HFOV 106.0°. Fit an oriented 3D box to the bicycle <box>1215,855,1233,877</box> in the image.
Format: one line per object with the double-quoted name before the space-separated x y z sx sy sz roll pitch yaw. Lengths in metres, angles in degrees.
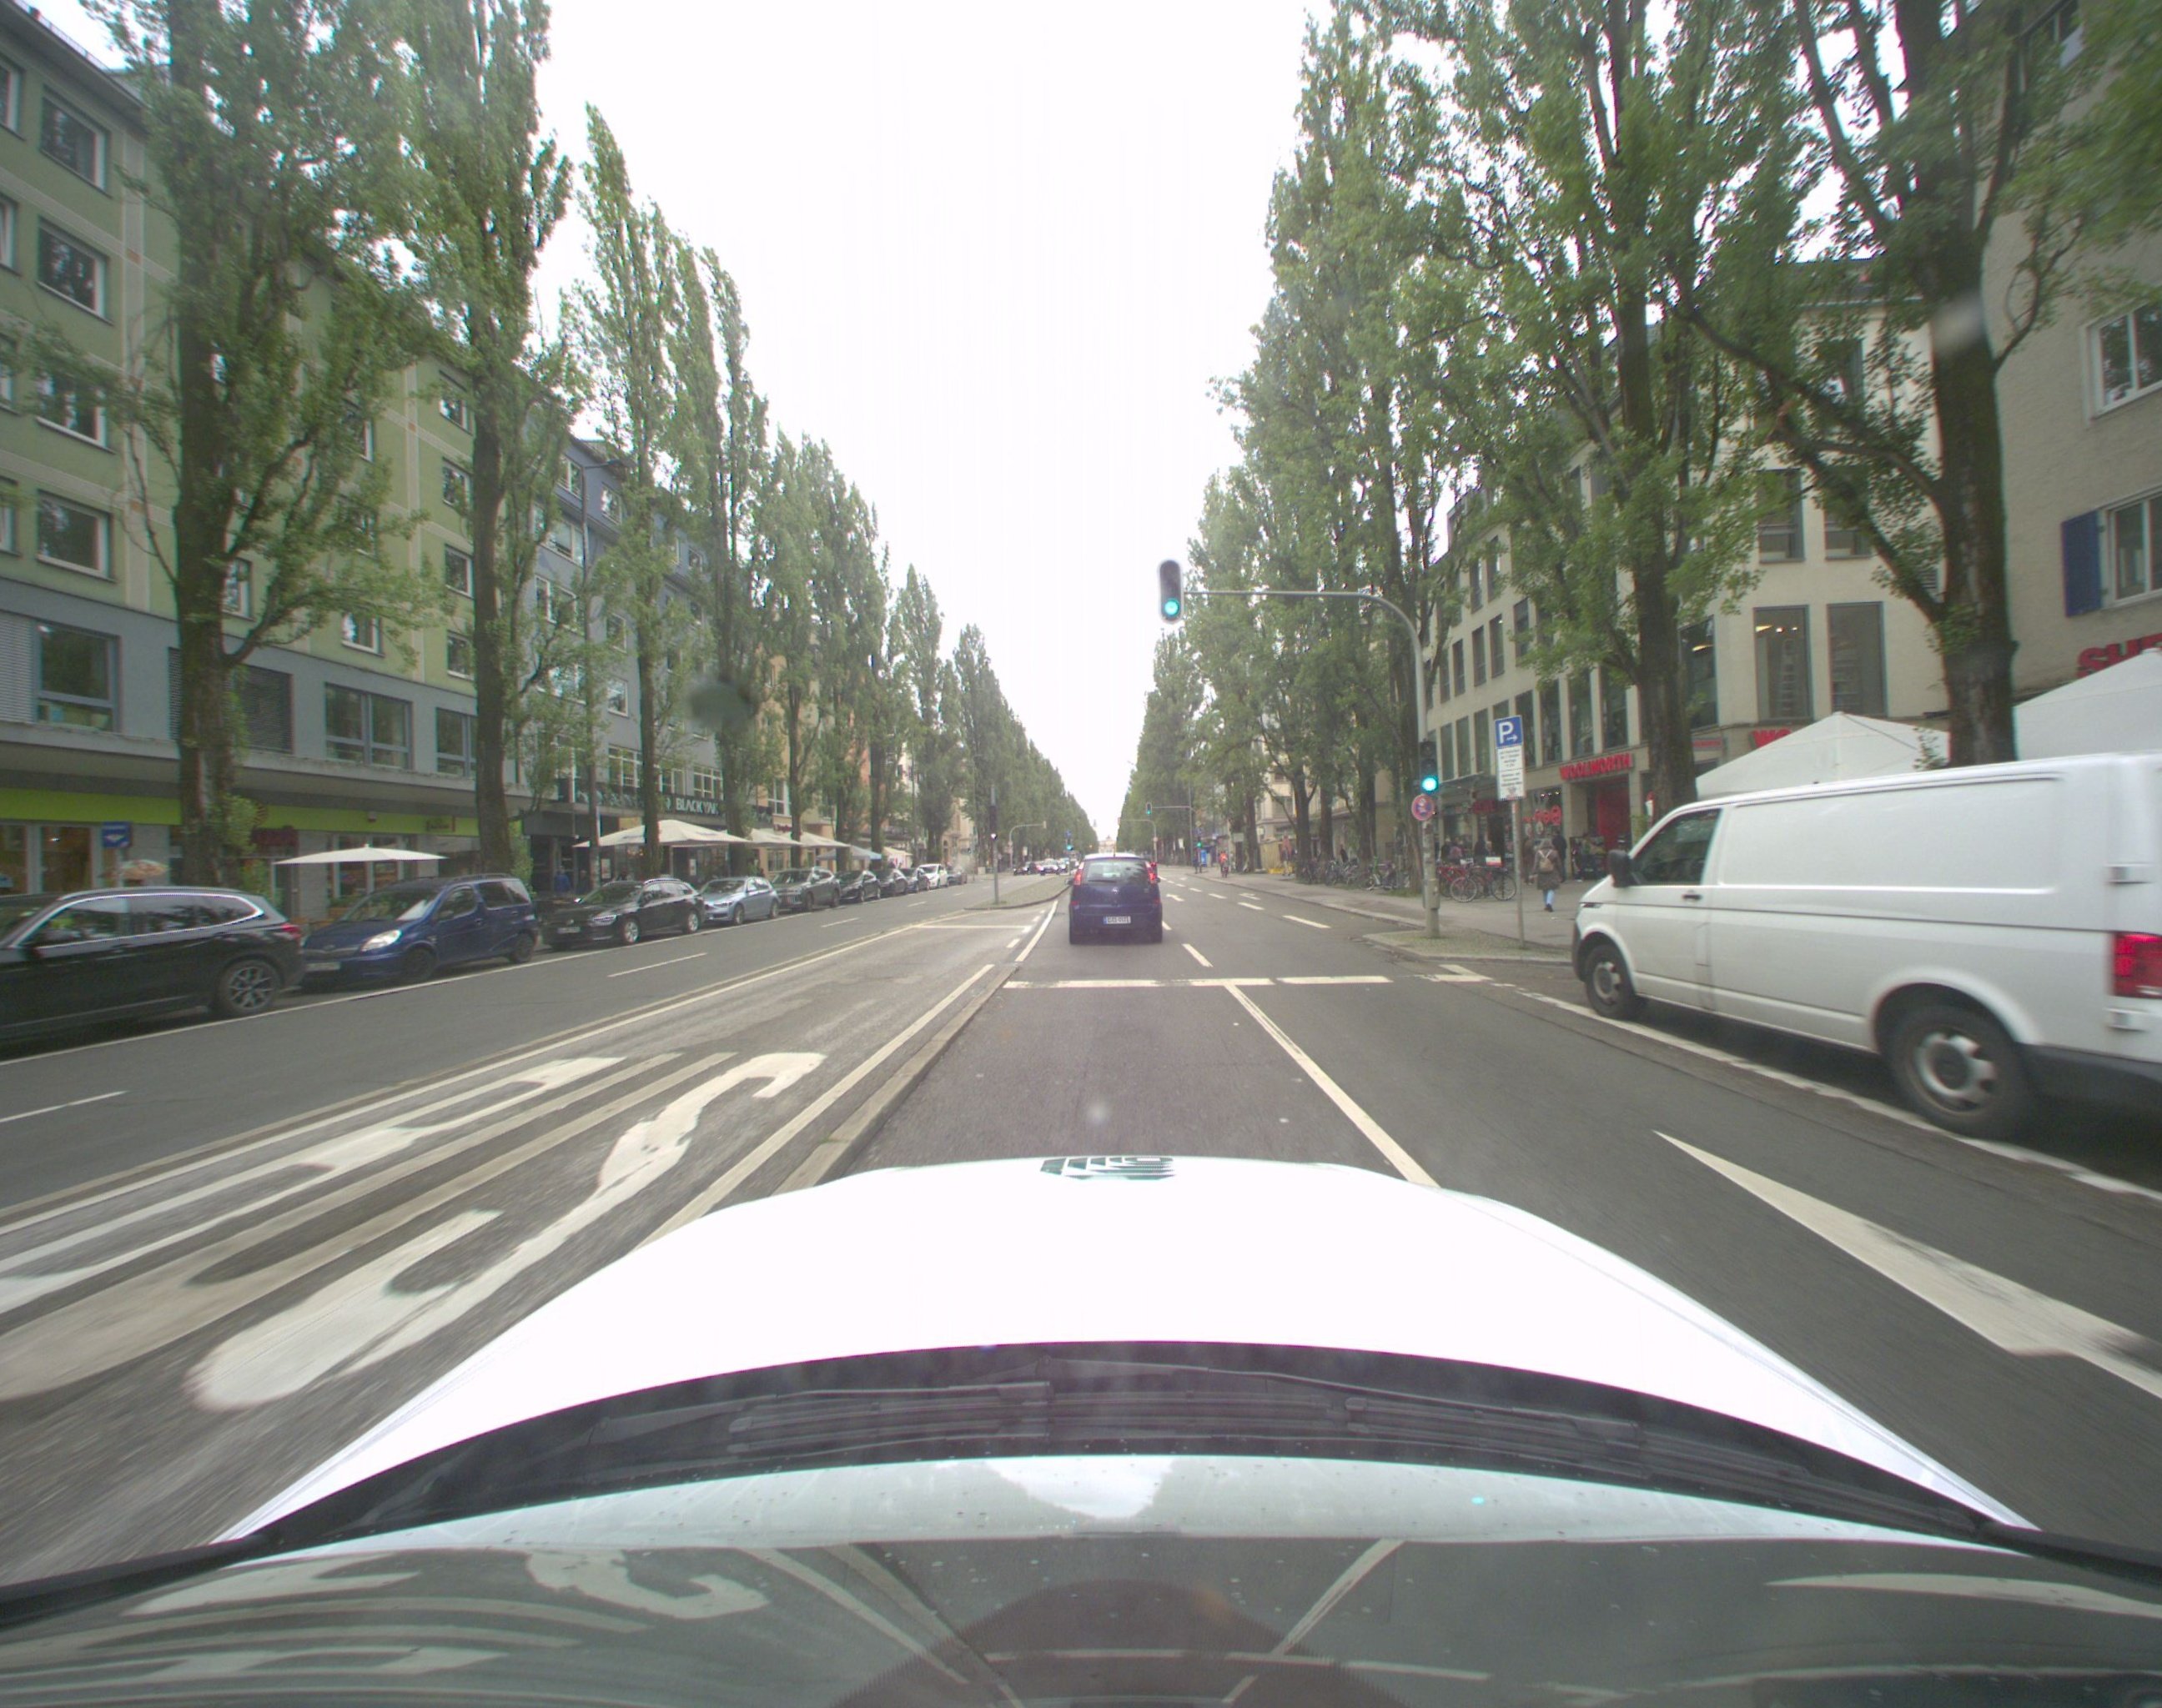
"bicycle" 9.288 0.743 52.879 0.769 1.349 2.450 -2 0 1

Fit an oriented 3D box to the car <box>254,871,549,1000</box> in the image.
"car" -11.318 1.240 13.988 1.704 1.721 3.920 -4 0 -1

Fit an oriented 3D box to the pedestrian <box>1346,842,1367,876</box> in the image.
"pedestrian" 14.855 0.281 43.913 0.719 1.827 0.885 0 -1 -8

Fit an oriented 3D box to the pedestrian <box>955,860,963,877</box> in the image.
"pedestrian" -12.937 1.504 86.228 0.768 1.766 0.882 -2 -1 -11

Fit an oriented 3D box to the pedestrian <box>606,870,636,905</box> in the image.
"pedestrian" -19.357 1.401 34.272 0.792 1.410 0.770 -1 -1 13

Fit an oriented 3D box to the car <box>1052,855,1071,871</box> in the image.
"car" -2.164 1.014 92.033 1.859 1.665 4.122 -2 0 2

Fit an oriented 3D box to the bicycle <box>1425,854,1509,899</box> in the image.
"bicycle" 10.623 0.624 22.466 1.989 1.133 0.626 -3 0 0

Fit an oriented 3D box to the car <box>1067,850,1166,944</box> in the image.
"car" 0.691 0.741 15.962 1.665 1.568 4.002 -1 0 2

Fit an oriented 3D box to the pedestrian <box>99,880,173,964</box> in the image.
"pedestrian" -19.945 1.425 17.198 0.753 1.686 0.675 -3 -1 3

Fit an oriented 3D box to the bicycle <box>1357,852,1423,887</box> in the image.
"bicycle" 11.576 0.582 30.532 2.220 1.204 0.626 -3 0 -1

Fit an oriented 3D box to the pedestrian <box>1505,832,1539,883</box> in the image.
"pedestrian" 15.028 0.124 27.787 0.752 1.686 0.676 -3 -1 7

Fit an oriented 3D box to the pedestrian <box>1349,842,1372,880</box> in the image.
"pedestrian" 13.619 0.323 39.727 0.719 1.827 0.885 0 -1 -8

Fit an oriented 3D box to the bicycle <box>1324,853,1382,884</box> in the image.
"bicycle" 11.622 0.614 34.829 2.220 1.204 0.626 -3 0 -1

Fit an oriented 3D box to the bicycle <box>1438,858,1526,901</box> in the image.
"bicycle" 10.595 0.658 21.555 1.989 1.033 0.626 -3 0 0

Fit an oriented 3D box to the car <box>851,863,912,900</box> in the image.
"car" -10.167 1.346 41.769 1.859 1.665 4.122 -4 0 2

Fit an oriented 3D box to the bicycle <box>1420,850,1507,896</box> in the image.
"bicycle" 11.135 0.548 23.733 2.220 1.204 0.626 -3 0 -1

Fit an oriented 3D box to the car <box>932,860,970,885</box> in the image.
"car" -9.521 1.331 59.830 1.859 1.665 4.122 -4 0 2

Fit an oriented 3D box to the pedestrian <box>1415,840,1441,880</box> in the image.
"pedestrian" 16.119 0.278 37.840 0.719 1.827 0.885 0 -1 -8

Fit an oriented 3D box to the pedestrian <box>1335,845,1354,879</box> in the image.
"pedestrian" 14.161 0.417 43.738 0.636 1.827 0.885 0 -1 -8

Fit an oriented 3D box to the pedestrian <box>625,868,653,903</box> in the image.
"pedestrian" -18.165 1.276 33.480 0.763 1.410 0.799 0 -1 -3

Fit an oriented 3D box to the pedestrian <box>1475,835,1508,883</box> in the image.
"pedestrian" 14.638 0.182 29.035 0.753 1.686 0.675 -3 -1 1

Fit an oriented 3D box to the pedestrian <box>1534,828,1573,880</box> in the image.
"pedestrian" 15.935 0.007 27.481 0.793 1.677 0.879 -3 -1 7

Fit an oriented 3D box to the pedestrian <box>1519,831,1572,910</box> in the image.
"pedestrian" 10.223 0.368 17.923 0.749 1.686 0.755 -4 -2 44

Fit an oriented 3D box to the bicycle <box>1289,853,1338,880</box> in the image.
"bicycle" 11.389 0.628 39.928 2.220 1.204 0.626 -3 0 -1

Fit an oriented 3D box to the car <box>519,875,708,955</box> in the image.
"car" -10.896 1.344 19.425 1.792 1.488 4.352 -4 0 2

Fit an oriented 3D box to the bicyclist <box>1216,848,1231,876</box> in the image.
"bicyclist" 9.281 0.529 52.915 0.764 1.766 0.885 -2 0 1

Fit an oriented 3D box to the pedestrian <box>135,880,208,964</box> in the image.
"pedestrian" -19.156 1.417 17.158 0.753 1.686 0.675 -3 -1 3

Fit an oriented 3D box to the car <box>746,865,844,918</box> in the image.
"car" -10.514 1.309 30.301 1.859 1.665 4.402 -4 0 2

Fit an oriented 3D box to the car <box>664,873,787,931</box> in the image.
"car" -10.680 1.388 24.818 1.727 1.425 4.145 -4 0 2

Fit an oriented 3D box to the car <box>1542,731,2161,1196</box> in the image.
"car" 5.454 0.438 5.771 1.781 1.946 4.732 -2 0 2

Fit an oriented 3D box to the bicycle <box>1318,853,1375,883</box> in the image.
"bicycle" 11.600 0.625 35.628 2.220 1.204 0.626 -3 0 -1

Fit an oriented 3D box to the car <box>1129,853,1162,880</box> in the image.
"car" 4.130 0.778 52.631 1.889 1.622 4.002 -1 0 2

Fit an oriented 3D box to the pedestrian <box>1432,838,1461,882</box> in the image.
"pedestrian" 15.383 0.243 34.283 0.719 1.827 0.885 0 -1 -8

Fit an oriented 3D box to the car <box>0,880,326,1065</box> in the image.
"car" -11.249 1.244 8.703 1.859 1.664 4.613 -4 0 2

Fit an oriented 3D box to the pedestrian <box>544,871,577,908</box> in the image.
"pedestrian" -20.284 1.379 31.745 0.792 1.410 0.770 -1 -1 14

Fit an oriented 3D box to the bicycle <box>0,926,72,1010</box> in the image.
"bicycle" -15.788 1.609 11.536 1.943 1.095 0.718 0 0 -5

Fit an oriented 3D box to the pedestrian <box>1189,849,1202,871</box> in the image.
"pedestrian" 9.547 0.519 67.850 0.880 1.766 0.769 -2 -1 -1

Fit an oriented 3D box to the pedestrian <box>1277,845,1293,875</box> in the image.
"pedestrian" 12.226 0.357 48.872 0.636 1.827 0.885 0 -1 -8

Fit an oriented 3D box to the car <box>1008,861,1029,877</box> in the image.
"car" -6.938 1.663 91.157 1.859 1.665 4.122 -2 0 2

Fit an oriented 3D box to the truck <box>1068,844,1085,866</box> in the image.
"truck" -0.767 0.181 135.911 2.374 3.346 7.114 -2 0 2

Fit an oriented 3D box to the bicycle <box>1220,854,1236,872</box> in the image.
"bicycle" 11.209 0.689 62.265 0.769 1.349 2.450 -2 0 1

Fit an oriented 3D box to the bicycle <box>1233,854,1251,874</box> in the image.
"bicycle" 11.205 0.671 56.723 0.769 1.349 2.450 -2 0 1

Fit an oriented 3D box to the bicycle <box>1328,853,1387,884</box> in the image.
"bicycle" 11.532 0.608 34.022 2.220 1.204 0.626 -3 0 -1

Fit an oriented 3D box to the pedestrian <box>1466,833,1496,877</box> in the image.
"pedestrian" 16.866 0.041 34.350 0.719 1.827 0.885 0 -1 -8

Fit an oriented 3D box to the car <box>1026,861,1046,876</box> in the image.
"car" -5.342 1.712 96.935 1.859 1.665 4.122 -2 0 2

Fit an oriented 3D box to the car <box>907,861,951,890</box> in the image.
"car" -9.768 1.346 52.555 1.859 1.665 4.122 -4 0 2

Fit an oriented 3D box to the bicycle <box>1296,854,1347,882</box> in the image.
"bicycle" 11.368 0.652 38.549 2.220 1.204 0.626 -3 0 -1

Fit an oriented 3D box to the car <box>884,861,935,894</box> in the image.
"car" -9.877 1.342 47.293 1.859 1.665 4.122 -4 0 2

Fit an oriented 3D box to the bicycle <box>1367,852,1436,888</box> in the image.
"bicycle" 11.575 0.580 29.448 2.220 1.204 0.626 -3 0 -1

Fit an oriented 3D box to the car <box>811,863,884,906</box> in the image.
"car" -10.343 1.305 36.437 1.859 1.665 4.122 -4 0 2

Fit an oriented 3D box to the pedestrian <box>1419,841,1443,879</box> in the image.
"pedestrian" 17.057 0.293 39.689 0.719 1.827 0.885 0 -1 -8

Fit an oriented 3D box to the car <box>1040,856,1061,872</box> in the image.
"car" -2.938 1.009 79.693 1.728 1.465 3.366 -2 0 2

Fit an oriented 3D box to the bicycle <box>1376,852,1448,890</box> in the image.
"bicycle" 11.494 0.576 28.337 2.220 1.204 0.626 -3 0 -1

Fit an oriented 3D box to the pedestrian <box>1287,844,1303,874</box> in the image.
"pedestrian" 12.896 0.314 49.137 0.636 1.827 0.885 0 -1 -8

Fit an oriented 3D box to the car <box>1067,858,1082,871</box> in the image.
"car" -0.863 1.357 110.682 1.859 1.665 4.122 -2 0 2

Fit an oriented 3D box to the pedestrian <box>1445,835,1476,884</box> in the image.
"pedestrian" 13.501 0.211 28.991 0.671 1.686 0.758 -3 -1 -3

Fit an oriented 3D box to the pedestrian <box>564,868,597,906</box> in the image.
"pedestrian" -19.133 1.257 31.132 0.763 1.410 0.799 0 -1 -3

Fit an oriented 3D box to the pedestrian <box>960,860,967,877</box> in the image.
"pedestrian" -12.780 1.600 88.552 0.767 1.766 0.882 -2 -1 -10
